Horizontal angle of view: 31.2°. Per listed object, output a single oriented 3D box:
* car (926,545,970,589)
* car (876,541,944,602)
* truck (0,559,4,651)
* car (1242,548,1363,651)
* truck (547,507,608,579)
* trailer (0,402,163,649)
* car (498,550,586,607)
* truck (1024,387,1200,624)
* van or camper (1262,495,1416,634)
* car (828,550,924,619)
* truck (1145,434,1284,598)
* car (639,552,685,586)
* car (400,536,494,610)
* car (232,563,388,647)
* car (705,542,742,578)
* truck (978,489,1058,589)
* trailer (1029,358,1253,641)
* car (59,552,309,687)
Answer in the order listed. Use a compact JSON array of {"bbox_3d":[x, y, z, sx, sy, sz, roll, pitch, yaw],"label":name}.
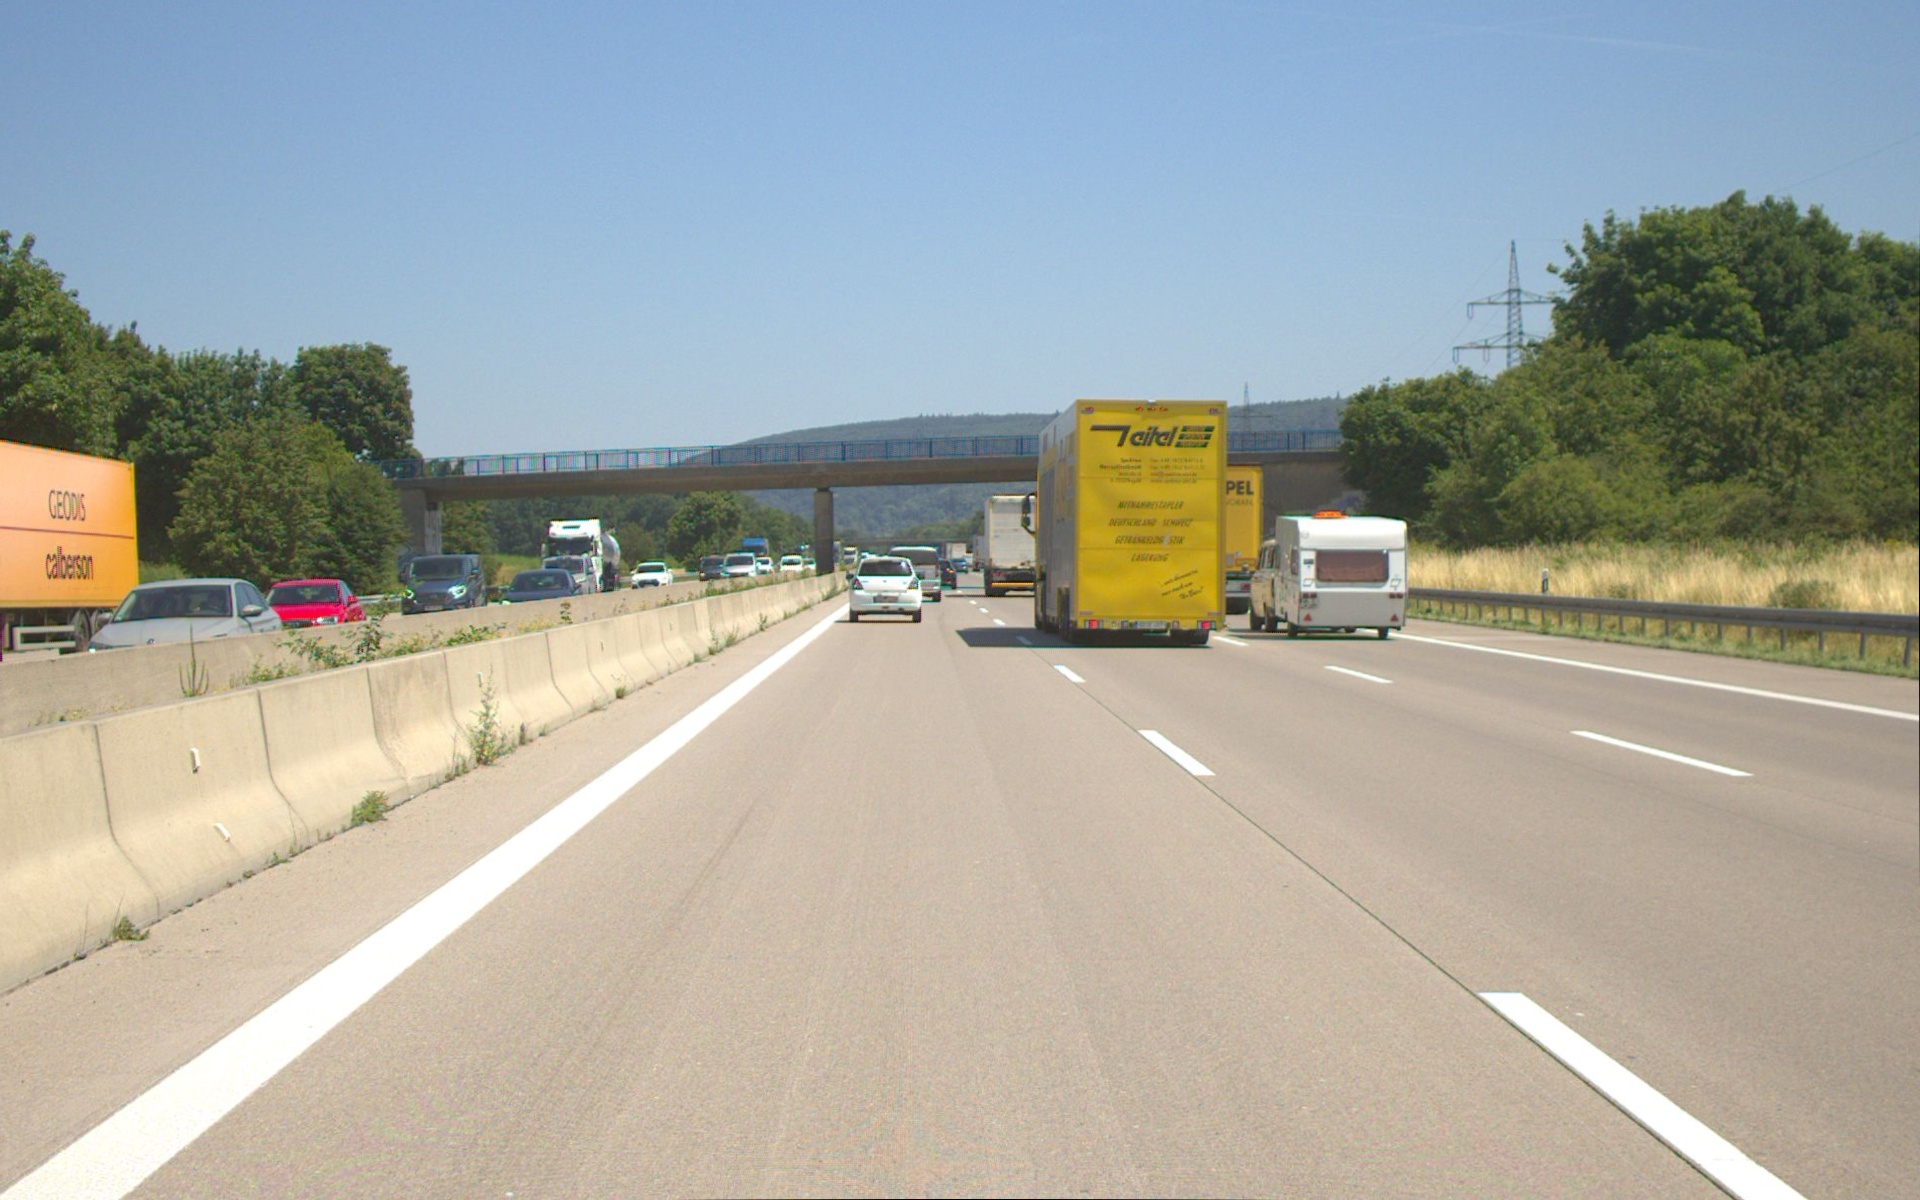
[{"bbox_3d":[-0.589,-1.581,162.484,1.993,2.007,4.000,1,1,-1],"label":"car"},{"bbox_3d":[-1.690,-0.993,118.116,2.254,2.007,4.298,1,1,0],"label":"car"},{"bbox_3d":[-17.588,-1.151,55.283,2.868,4.181,5.230,-2,1,-1],"label":"truck"},{"bbox_3d":[6.978,-0.039,70.379,1.993,2.007,4.000,1,1,-1],"label":"car"},{"bbox_3d":[-19.391,-2.890,174.491,2.601,3.576,4.720,1,1,-1],"label":"truck"},{"bbox_3d":[-17.734,-1.289,63.287,2.873,4.183,14.141,-2,1,-1],"label":"trailer"},{"bbox_3d":[-10.102,-0.536,83.236,1.690,1.327,4.000,1,1,-1],"label":"car"},{"bbox_3d":[3.002,-1.892,69.542,3.216,4.548,5.836,1,1,0],"label":"truck"},{"bbox_3d":[7.173,-0.705,65.642,2.224,2.522,5.431,1,1,-1],"label":"van or camper"},{"bbox_3d":[-1.941,-0.377,80.622,2.107,1.530,4.122,1,1,1],"label":"car"},{"bbox_3d":[7.002,-2.322,95.778,2.999,4.299,9.684,1,1,-1],"label":"truck"},{"bbox_3d":[-14.967,-1.587,172.810,1.923,1.606,4.686,-2,1,-1],"label":"car"},{"bbox_3d":[-14.597,-0.796,98.093,1.931,1.993,5.518,1,1,-1],"label":"car"},{"bbox_3d":[-11.944,0.066,63.459,1.993,1.389,4.717,-2,1,-1],"label":"car"},{"bbox_3d":[-15.012,-2.570,218.363,1.993,2.130,5.882,-2,1,-1],"label":"car"},{"bbox_3d":[2.209,-2.357,133.146,2.820,3.748,6.284,1,1,-1],"label":"truck"},{"bbox_3d":[3.081,-1.762,62.568,3.216,4.548,13.457,1,1,0],"label":"trailer"},{"bbox_3d":[-9.314,0.189,41.639,1.993,1.480,4.710,-1,1,-1],"label":"car"}]
